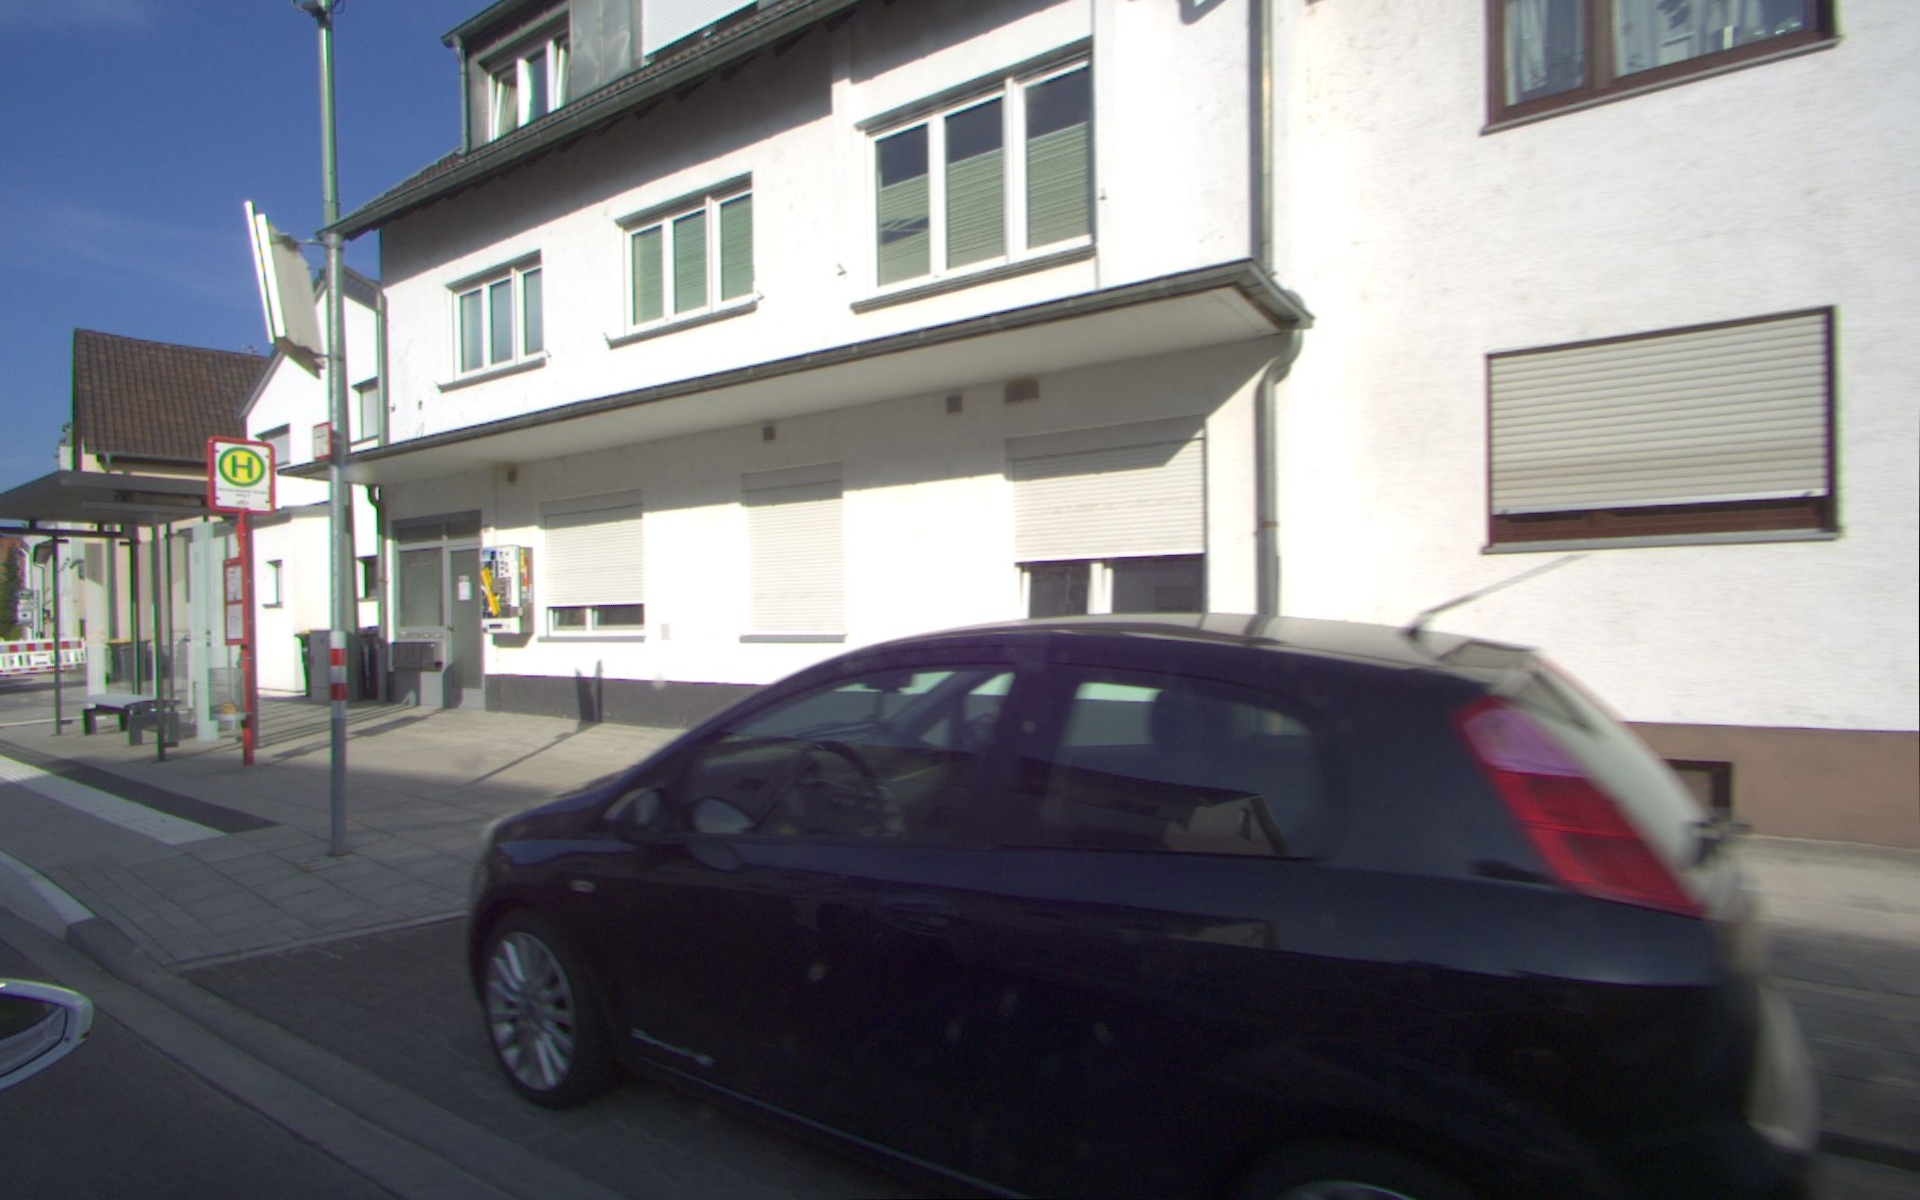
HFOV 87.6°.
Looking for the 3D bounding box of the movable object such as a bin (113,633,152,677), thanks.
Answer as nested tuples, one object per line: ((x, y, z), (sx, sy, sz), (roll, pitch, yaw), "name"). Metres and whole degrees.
((-21.489, 1.413, 26.006), (0.548, 1.107, 0.724), (-1, 0, 43), "movable object such as a bin")

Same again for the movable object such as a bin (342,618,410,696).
((-8.717, 0.837, 14.942), (0.552, 1.108, 0.693), (-1, 1, 36), "movable object such as a bin")

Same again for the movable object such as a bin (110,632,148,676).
((-21.930, 1.418, 26.427), (0.548, 1.146, 0.724), (-1, -1, 43), "movable object such as a bin")

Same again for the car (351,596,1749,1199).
((-0.093, 0.752, 3.105), (3.866, 1.440, 1.603), (-1, 1, 34), "car")

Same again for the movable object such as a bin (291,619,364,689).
((-10.500, 0.883, 16.633), (0.758, 1.108, 0.808), (-1, 0, 39), "movable object such as a bin")

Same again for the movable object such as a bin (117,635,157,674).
((-20.958, 1.385, 25.511), (0.548, 0.971, 0.724), (-1, -1, 43), "movable object such as a bin")

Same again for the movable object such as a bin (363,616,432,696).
((-8.137, 0.794, 14.496), (0.552, 1.108, 0.693), (-1, 1, 39), "movable object such as a bin")

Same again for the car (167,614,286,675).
((-19.586, 1.125, 26.907), (1.634, 1.426, 3.966), (-2, 0, -23), "car")

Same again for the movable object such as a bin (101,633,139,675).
((-22.862, 1.467, 27.259), (0.619, 1.107, 0.724), (-1, -1, 43), "movable object such as a bin")

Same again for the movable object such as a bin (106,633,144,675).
((-22.365, 1.444, 26.825), (0.548, 1.107, 0.724), (-1, -1, 43), "movable object such as a bin")
